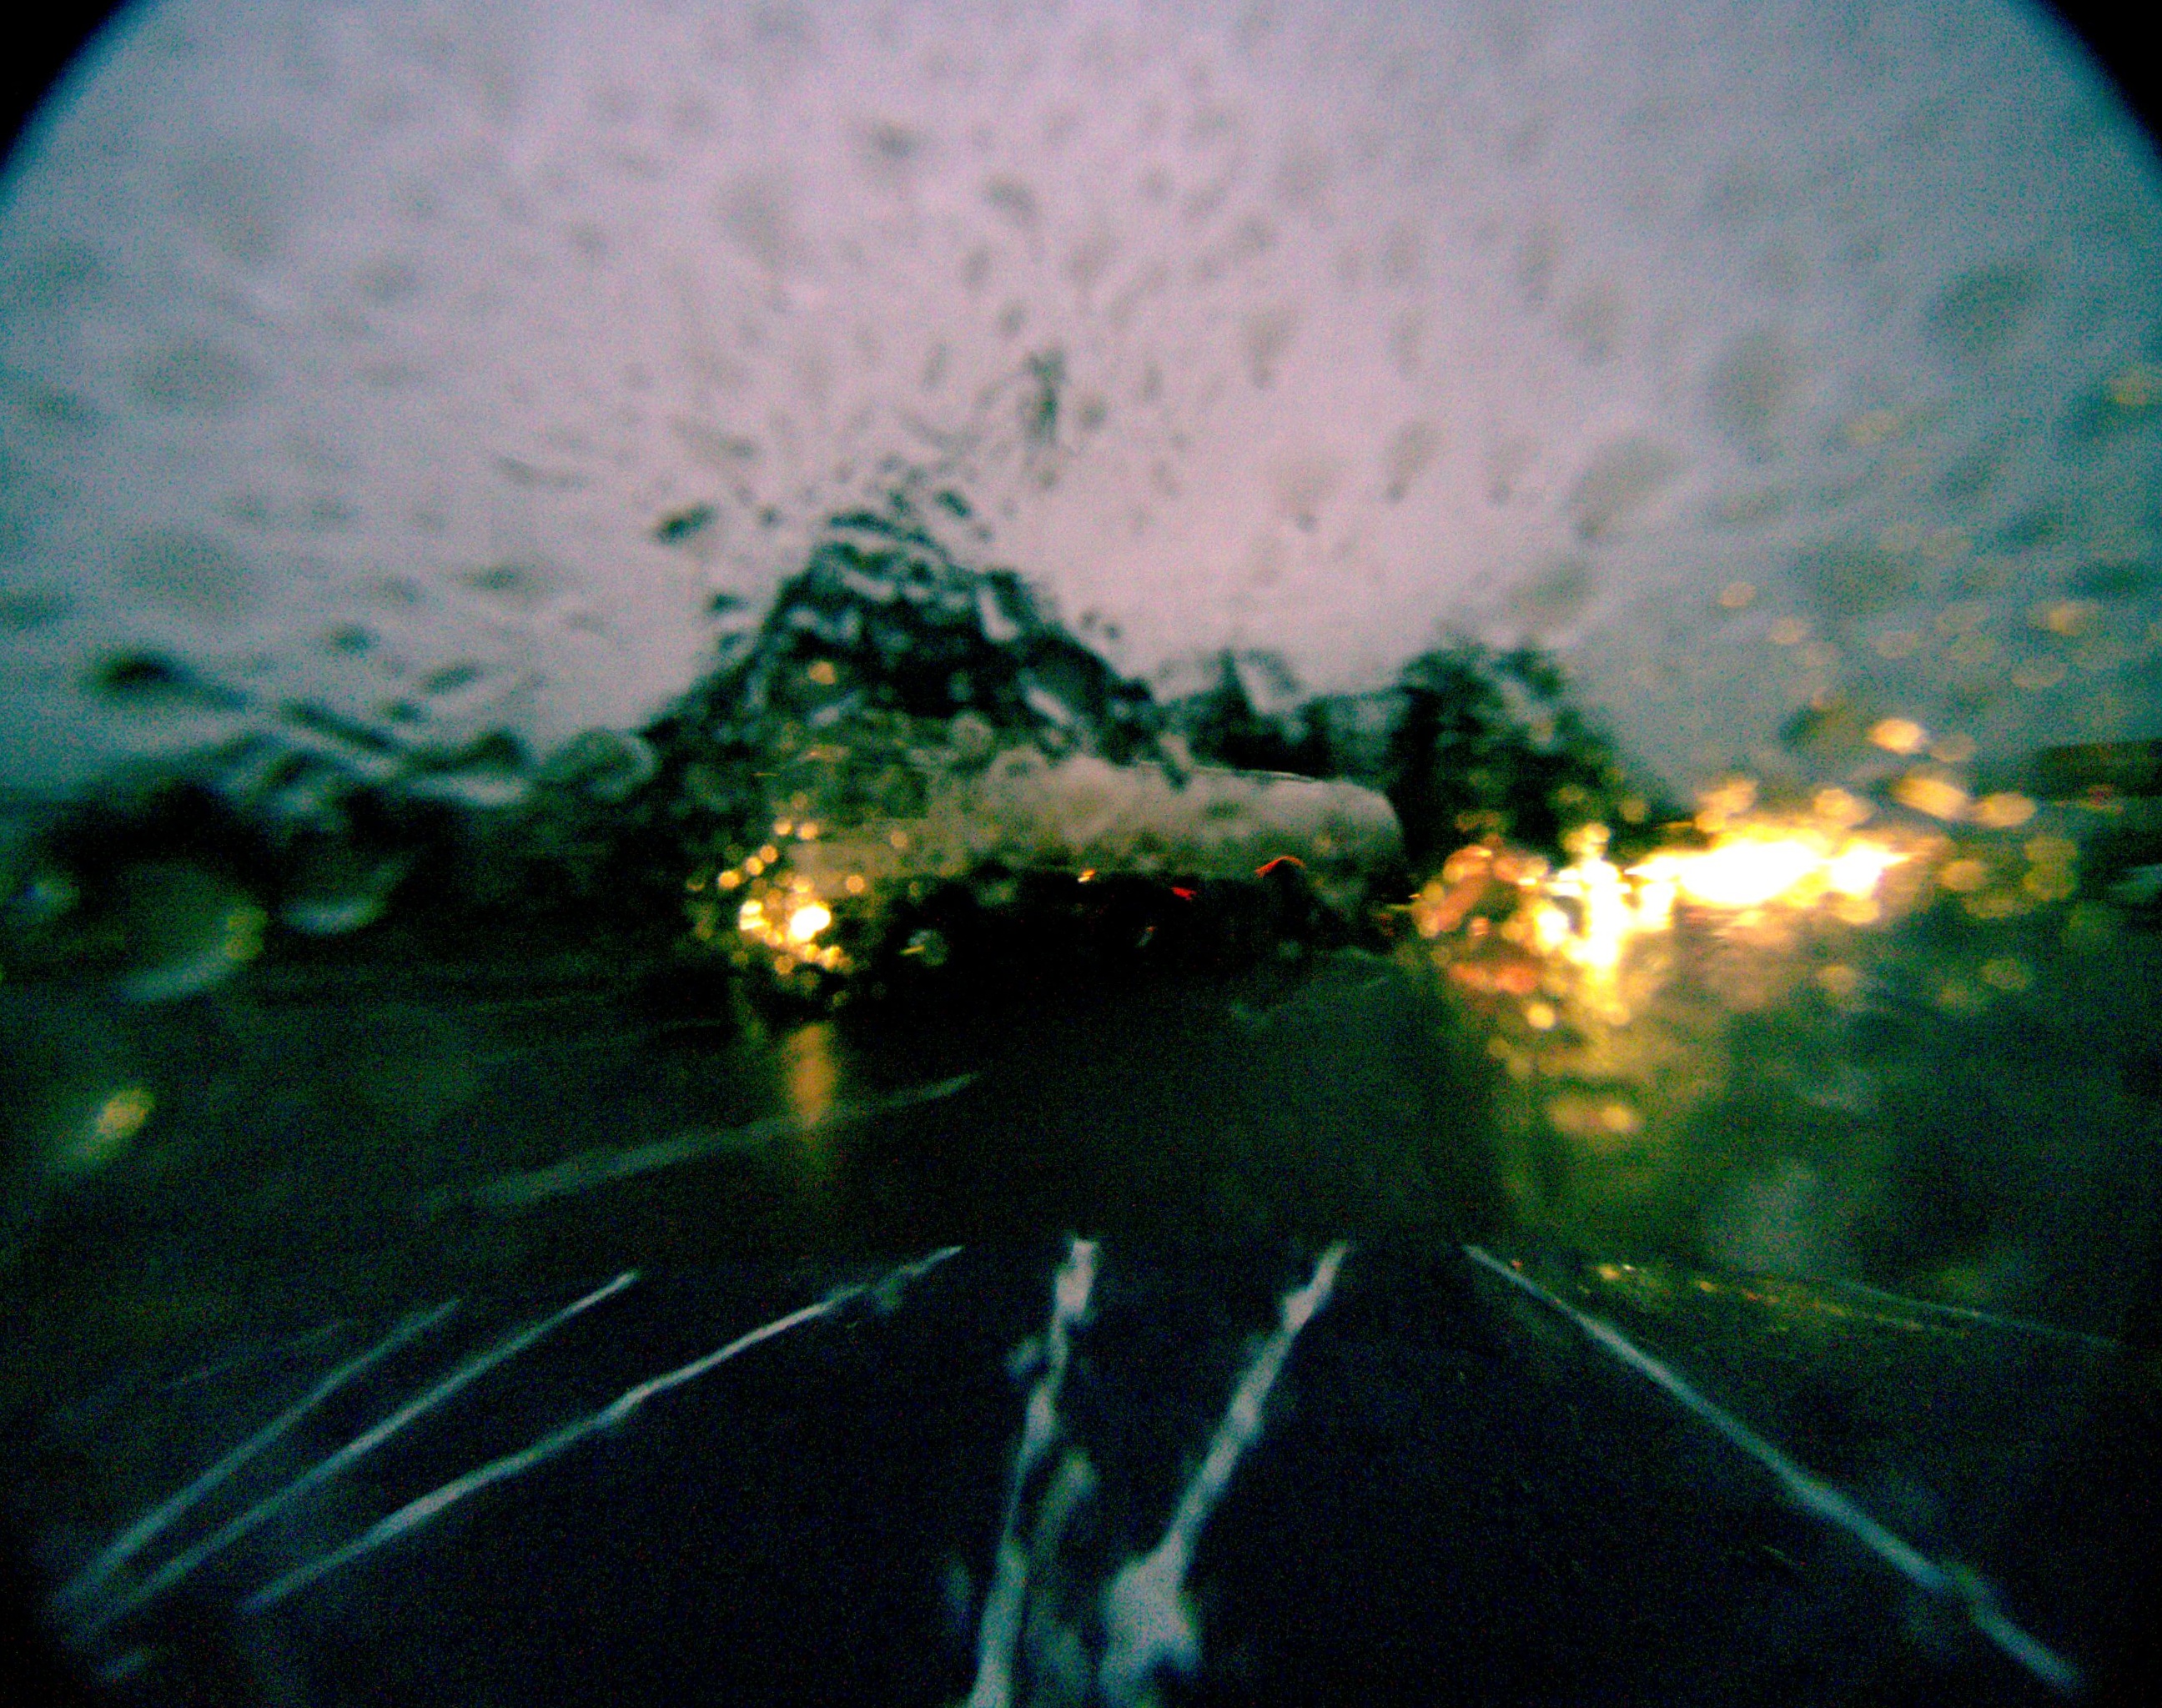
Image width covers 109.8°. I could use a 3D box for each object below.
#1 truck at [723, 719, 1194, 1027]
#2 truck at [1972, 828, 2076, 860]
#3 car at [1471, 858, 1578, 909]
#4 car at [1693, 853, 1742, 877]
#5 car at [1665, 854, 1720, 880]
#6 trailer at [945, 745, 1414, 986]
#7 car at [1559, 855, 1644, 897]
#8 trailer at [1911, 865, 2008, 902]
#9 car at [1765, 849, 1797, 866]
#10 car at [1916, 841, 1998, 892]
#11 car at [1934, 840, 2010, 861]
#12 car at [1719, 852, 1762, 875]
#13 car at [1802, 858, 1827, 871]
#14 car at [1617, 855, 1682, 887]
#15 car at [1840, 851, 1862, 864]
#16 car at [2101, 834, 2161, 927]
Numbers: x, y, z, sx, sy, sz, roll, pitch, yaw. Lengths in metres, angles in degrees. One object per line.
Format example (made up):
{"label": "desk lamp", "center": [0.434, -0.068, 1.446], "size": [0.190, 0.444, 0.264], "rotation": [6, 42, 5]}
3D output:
{"label": "truck", "center": [-1.396, 0.194, 10.955], "size": [6.285, 3.210, 2.463], "rotation": [-1, -1, -42]}
{"label": "truck", "center": [100.766, -1.010, 81.371], "size": [2.339, 3.123, 6.862], "rotation": [0, -1, -43]}
{"label": "car", "center": [14.329, 0.893, 24.438], "size": [4.390, 1.430, 1.663], "rotation": [-1, -1, -42]}
{"label": "car", "center": [40.291, 0.668, 48.066], "size": [4.778, 1.358, 1.642], "rotation": [-1, -1, -41]}
{"label": "car", "center": [33.882, 0.710, 42.060], "size": [4.281, 1.328, 1.654], "rotation": [-1, -1, -41]}
{"label": "trailer", "center": [2.760, 0.126, 14.769], "size": [10.890, 3.221, 2.489], "rotation": [-1, -1, -42]}
{"label": "car", "center": [21.619, 0.874, 31.503], "size": [4.513, 1.559, 1.837], "rotation": [-1, -1, -42]}
{"label": "trailer", "center": [30.090, 0.937, 26.119], "size": [6.116, 1.033, 1.994], "rotation": [0, 0, -42]}
{"label": "car", "center": [63.290, 0.307, 68.708], "size": [2.011, 1.483, 4.009], "rotation": [-2, -2, 44]}
{"label": "car", "center": [34.093, 0.430, 29.650], "size": [4.521, 1.820, 1.971], "rotation": [-1, 1, -42]}
{"label": "car", "center": [112.418, -0.465, 95.953], "size": [2.180, 2.617, 6.158], "rotation": [0, 0, -42]}
{"label": "car", "center": [46.854, 0.661, 53.923], "size": [4.473, 1.566, 1.709], "rotation": [0, -1, -41]}
{"label": "car", "center": [82.785, 1.173, 85.773], "size": [2.011, 1.483, 4.009], "rotation": [-1, -1, 44]}
{"label": "car", "center": [27.912, 0.814, 37.258], "size": [4.280, 1.462, 1.703], "rotation": [-1, -1, -42]}
{"label": "car", "center": [101.139, 0.474, 99.768], "size": [4.008, 1.618, 1.886], "rotation": [0, -1, -44]}
{"label": "car", "center": [22.896, 0.466, 13.749], "size": [2.004, 1.780, 5.192], "rotation": [-1, 0, -40]}
